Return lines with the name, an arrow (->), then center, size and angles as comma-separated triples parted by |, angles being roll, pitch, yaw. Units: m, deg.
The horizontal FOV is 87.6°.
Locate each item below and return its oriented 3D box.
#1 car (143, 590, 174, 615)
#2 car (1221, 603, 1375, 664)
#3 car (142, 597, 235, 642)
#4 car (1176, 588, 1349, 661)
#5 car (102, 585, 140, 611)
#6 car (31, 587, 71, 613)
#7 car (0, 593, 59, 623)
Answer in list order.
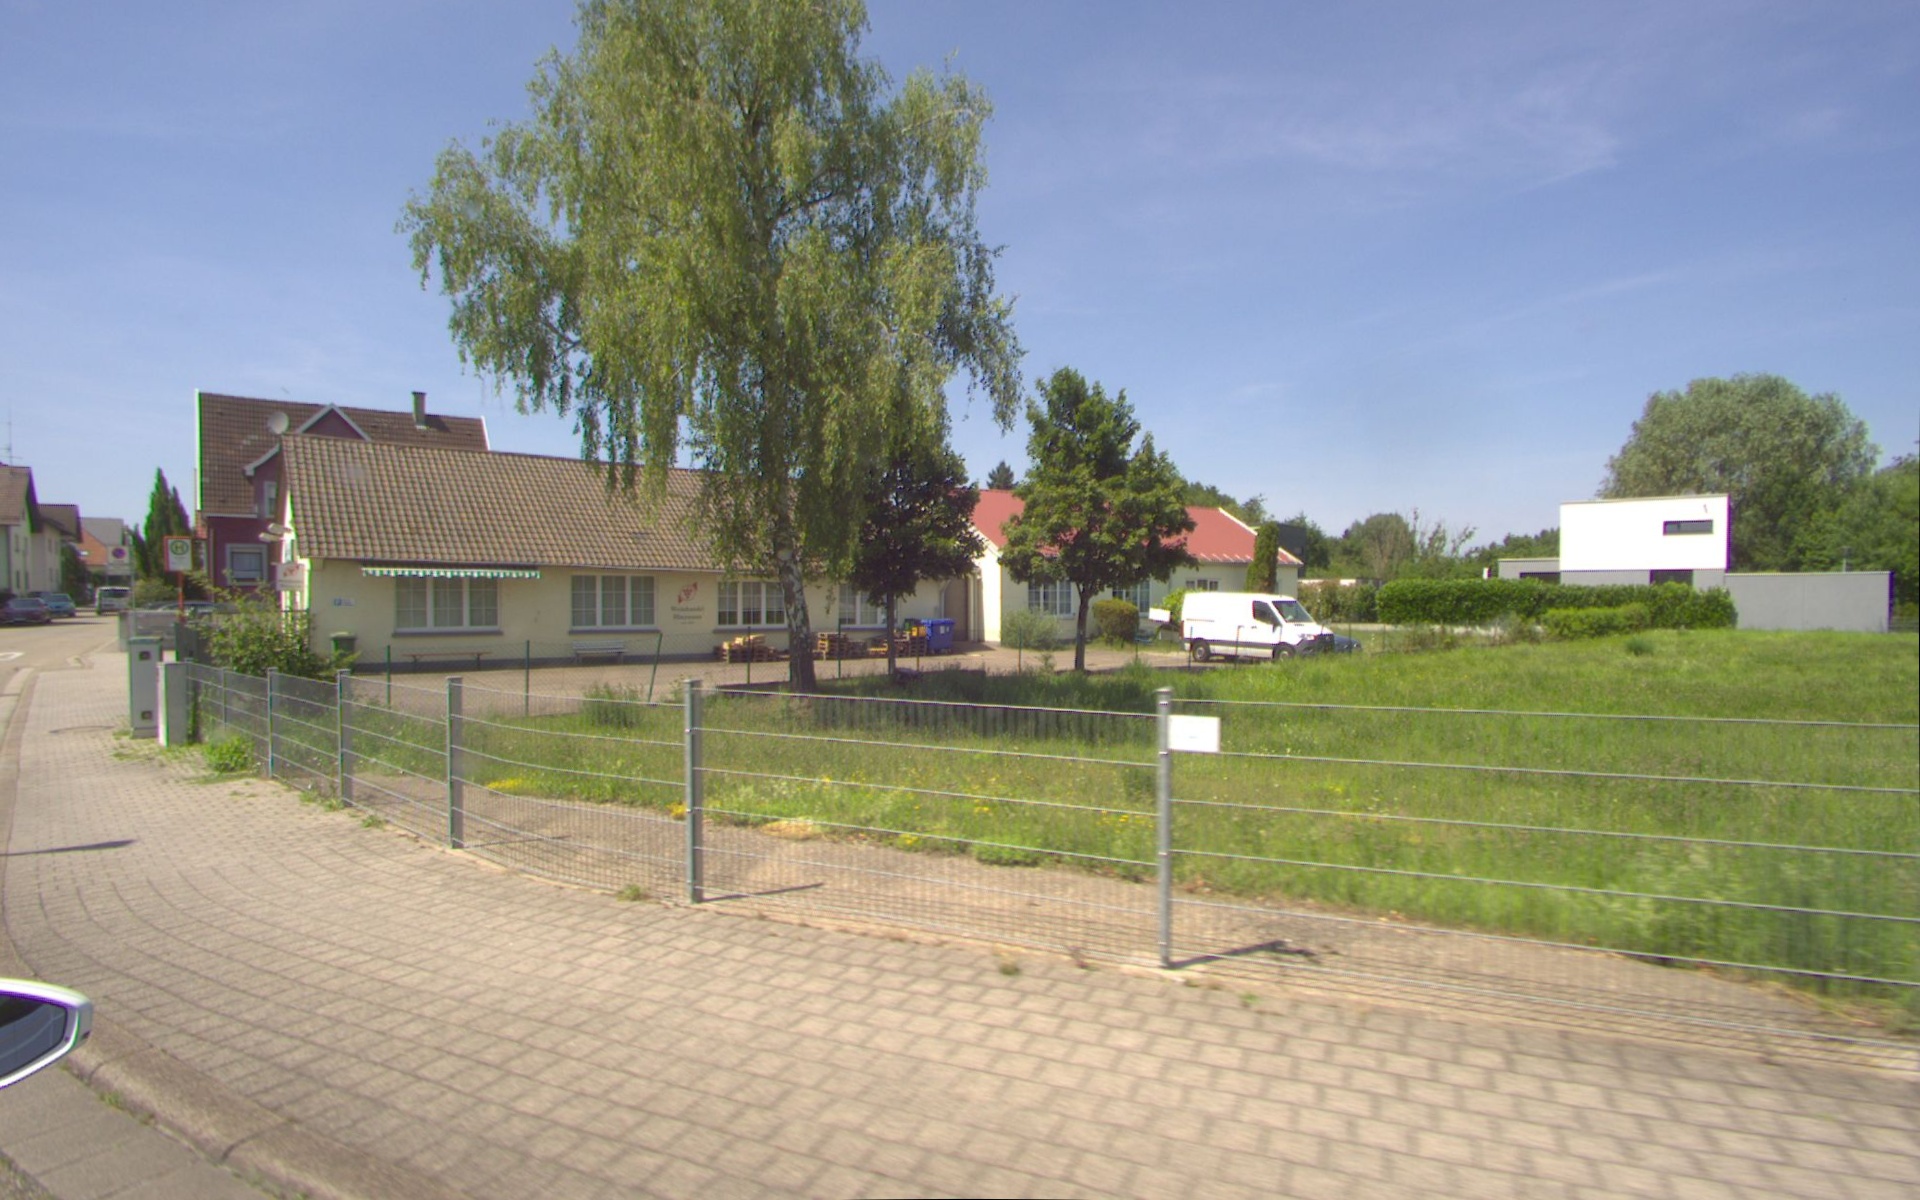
car -> -68.404, 0.227, 85.494 | 1.934, 2.099, 3.970 | -1, -1, -37
car -> 12.049, 1.183, 35.960 | 2.047, 2.040, 4.892 | -1, -1, -40
car -> -29.006, 0.716, 37.709 | 2.720, 1.618, 1.163 | 0, -1, -38
car -> 9.978, 0.801, 33.332 | 2.192, 2.230, 5.139 | -1, -1, -42
car -> -60.005, -0.125, 71.658 | 1.835, 1.810, 3.971 | -1, -1, -37
car -> -60.268, 0.012, 66.393 | 1.911, 1.625, 3.962 | 0, 0, -43
car -> -51.203, 0.414, 55.104 | 1.975, 1.574, 3.971 | 0, 0, -36
